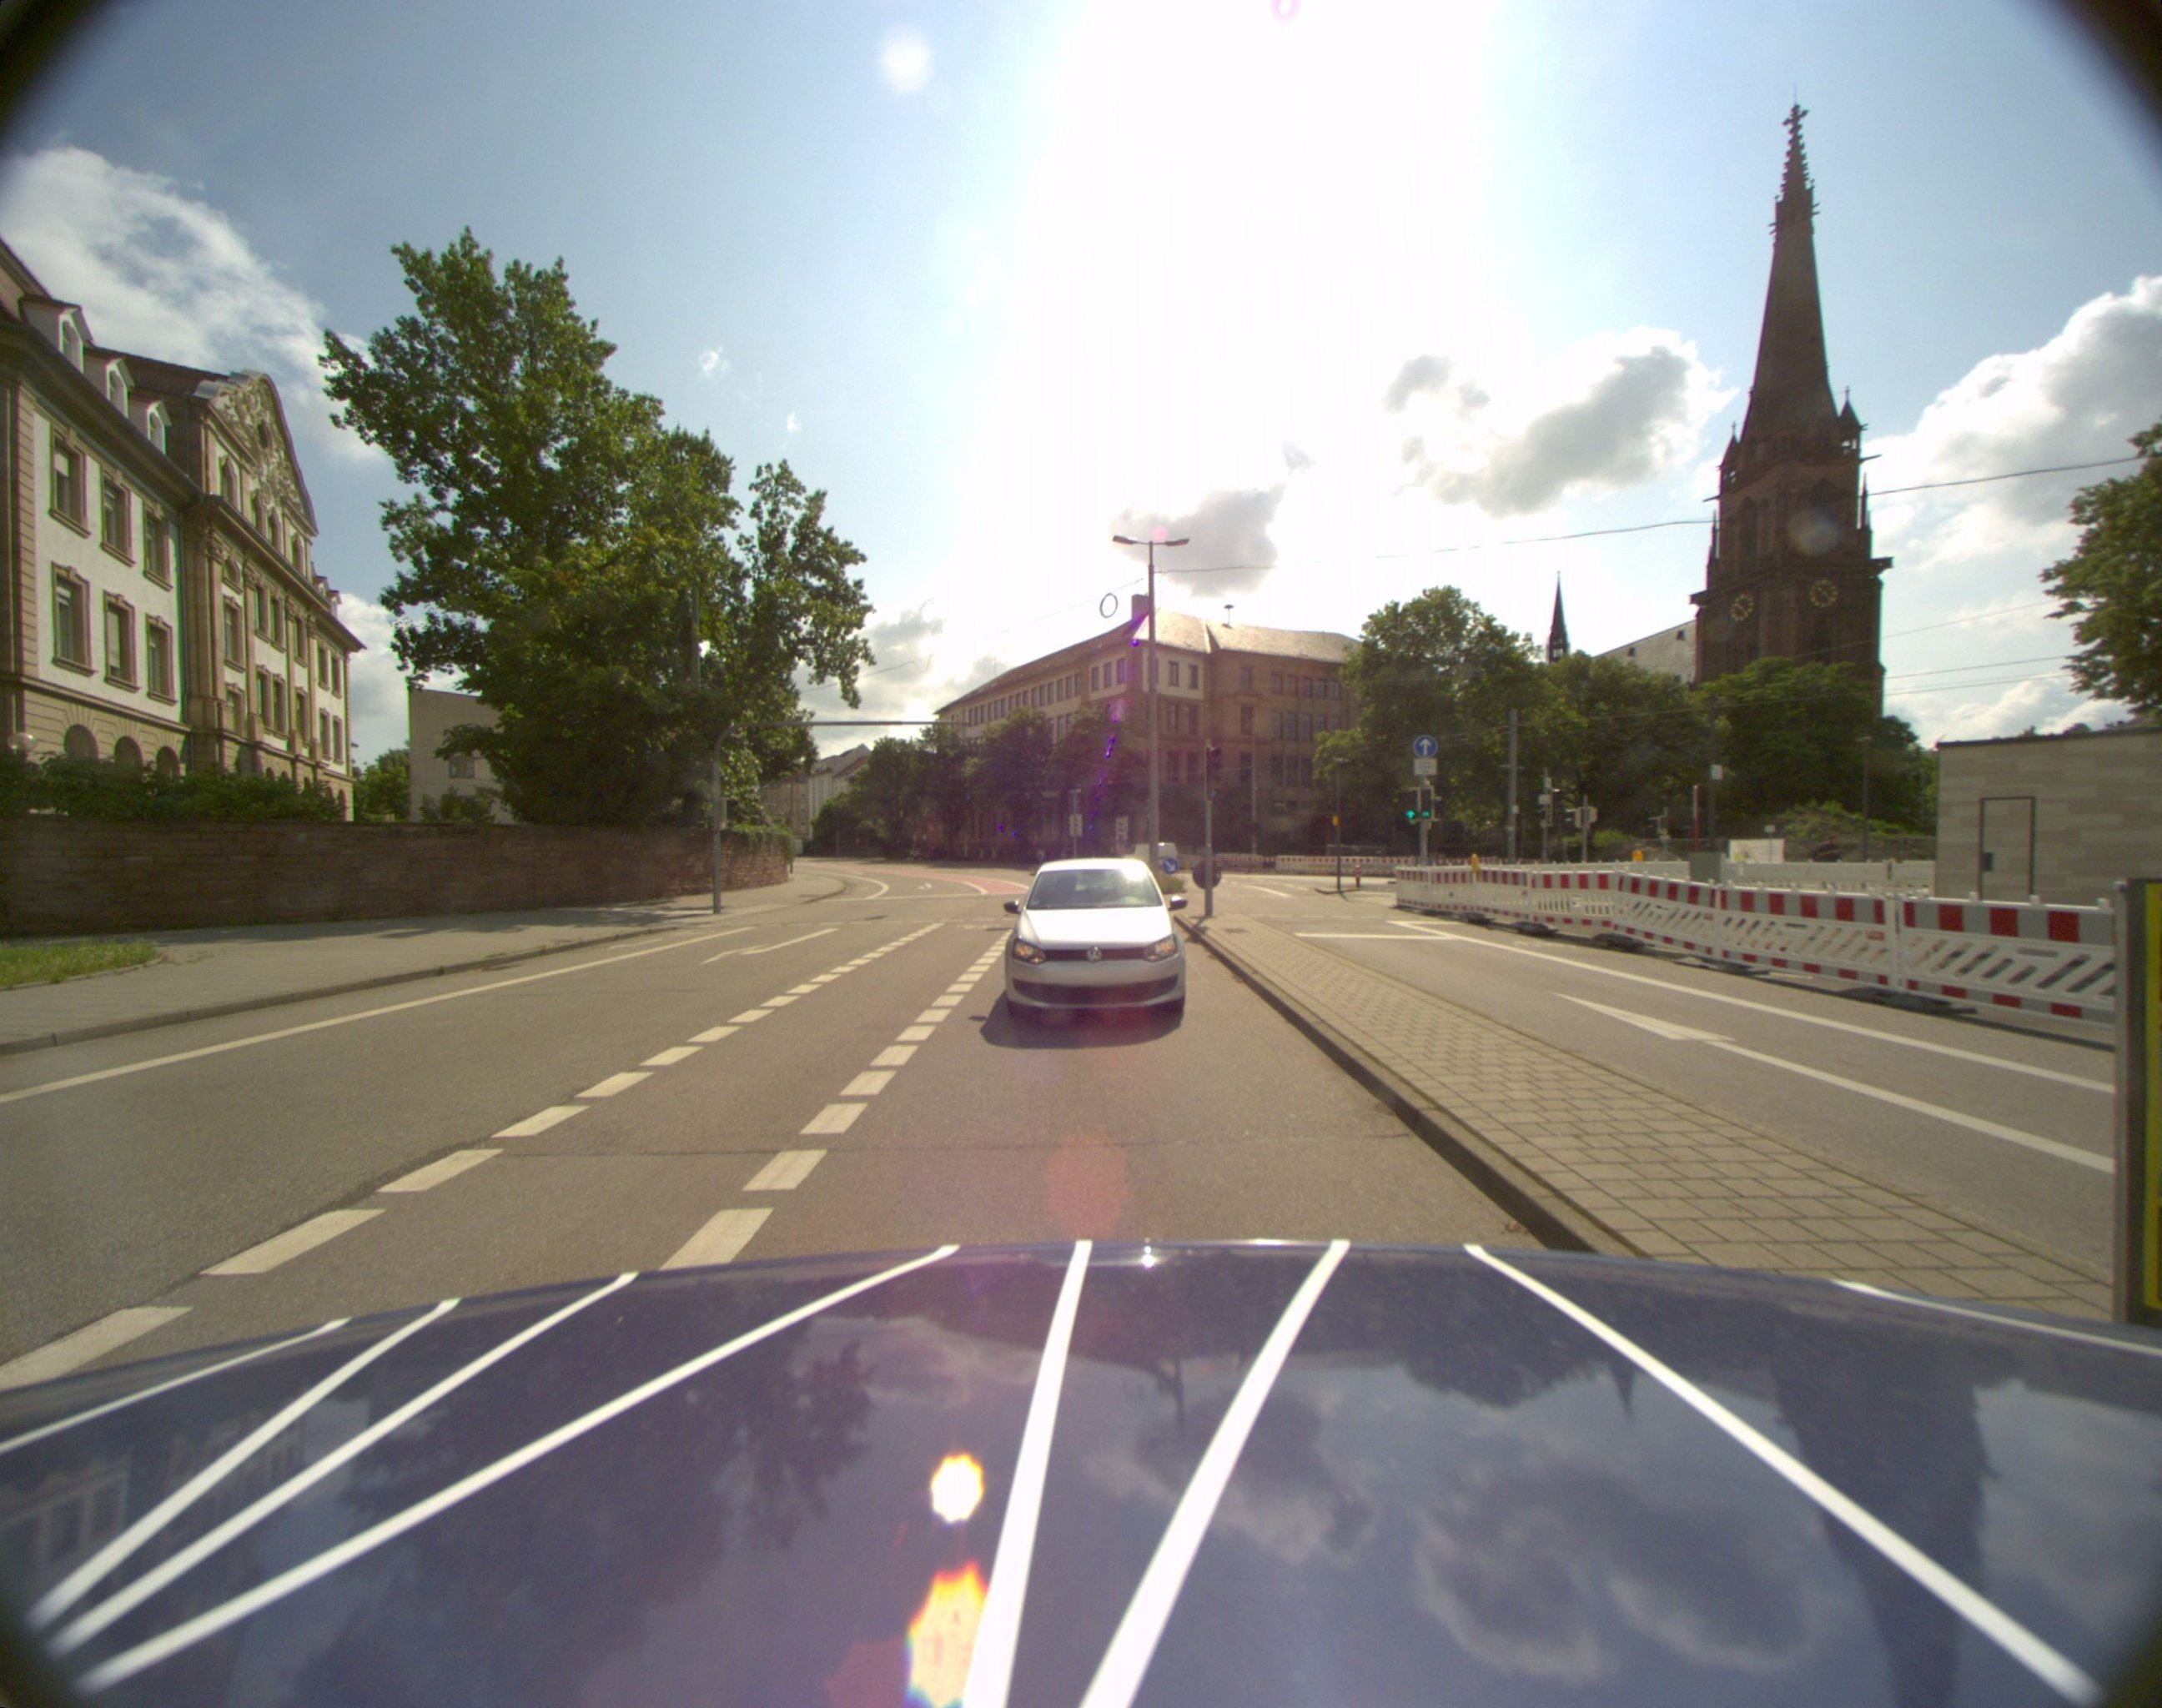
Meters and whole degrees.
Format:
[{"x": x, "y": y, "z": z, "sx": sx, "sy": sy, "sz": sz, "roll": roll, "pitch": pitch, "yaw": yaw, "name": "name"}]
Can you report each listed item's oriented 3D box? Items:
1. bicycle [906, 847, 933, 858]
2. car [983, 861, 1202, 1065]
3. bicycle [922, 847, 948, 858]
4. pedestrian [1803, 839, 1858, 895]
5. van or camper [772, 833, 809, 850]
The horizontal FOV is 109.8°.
[{"x": -19.464, "y": -0.184, "z": 91.560, "sx": 2.891, "sy": 1.201, "sz": 1.073, "roll": 0, "pitch": 4, "yaw": 8, "name": "bicycle"}, {"x": 0.108, "y": 0.874, "z": 7.932, "sx": 1.655, "sy": 1.434, "sz": 4.004, "roll": -2, "pitch": 1, "yaw": 1, "name": "car"}, {"x": -17.143, "y": -0.224, "z": 89.266, "sx": 2.891, "sy": 1.201, "sz": 1.050, "roll": 0, "pitch": 4, "yaw": 8, "name": "bicycle"}, {"x": 23.255, "y": 0.378, "z": 23.588, "sx": 1.209, "sy": 1.696, "sz": 0.840, "roll": 0, "pitch": 1, "yaw": -27, "name": "pedestrian"}, {"x": -45.135, "y": -1.945, "z": 117.893, "sx": 2.982, "sy": 2.587, "sz": 6.738, "roll": -1, "pitch": 1, "yaw": -43, "name": "van or camper"}]
